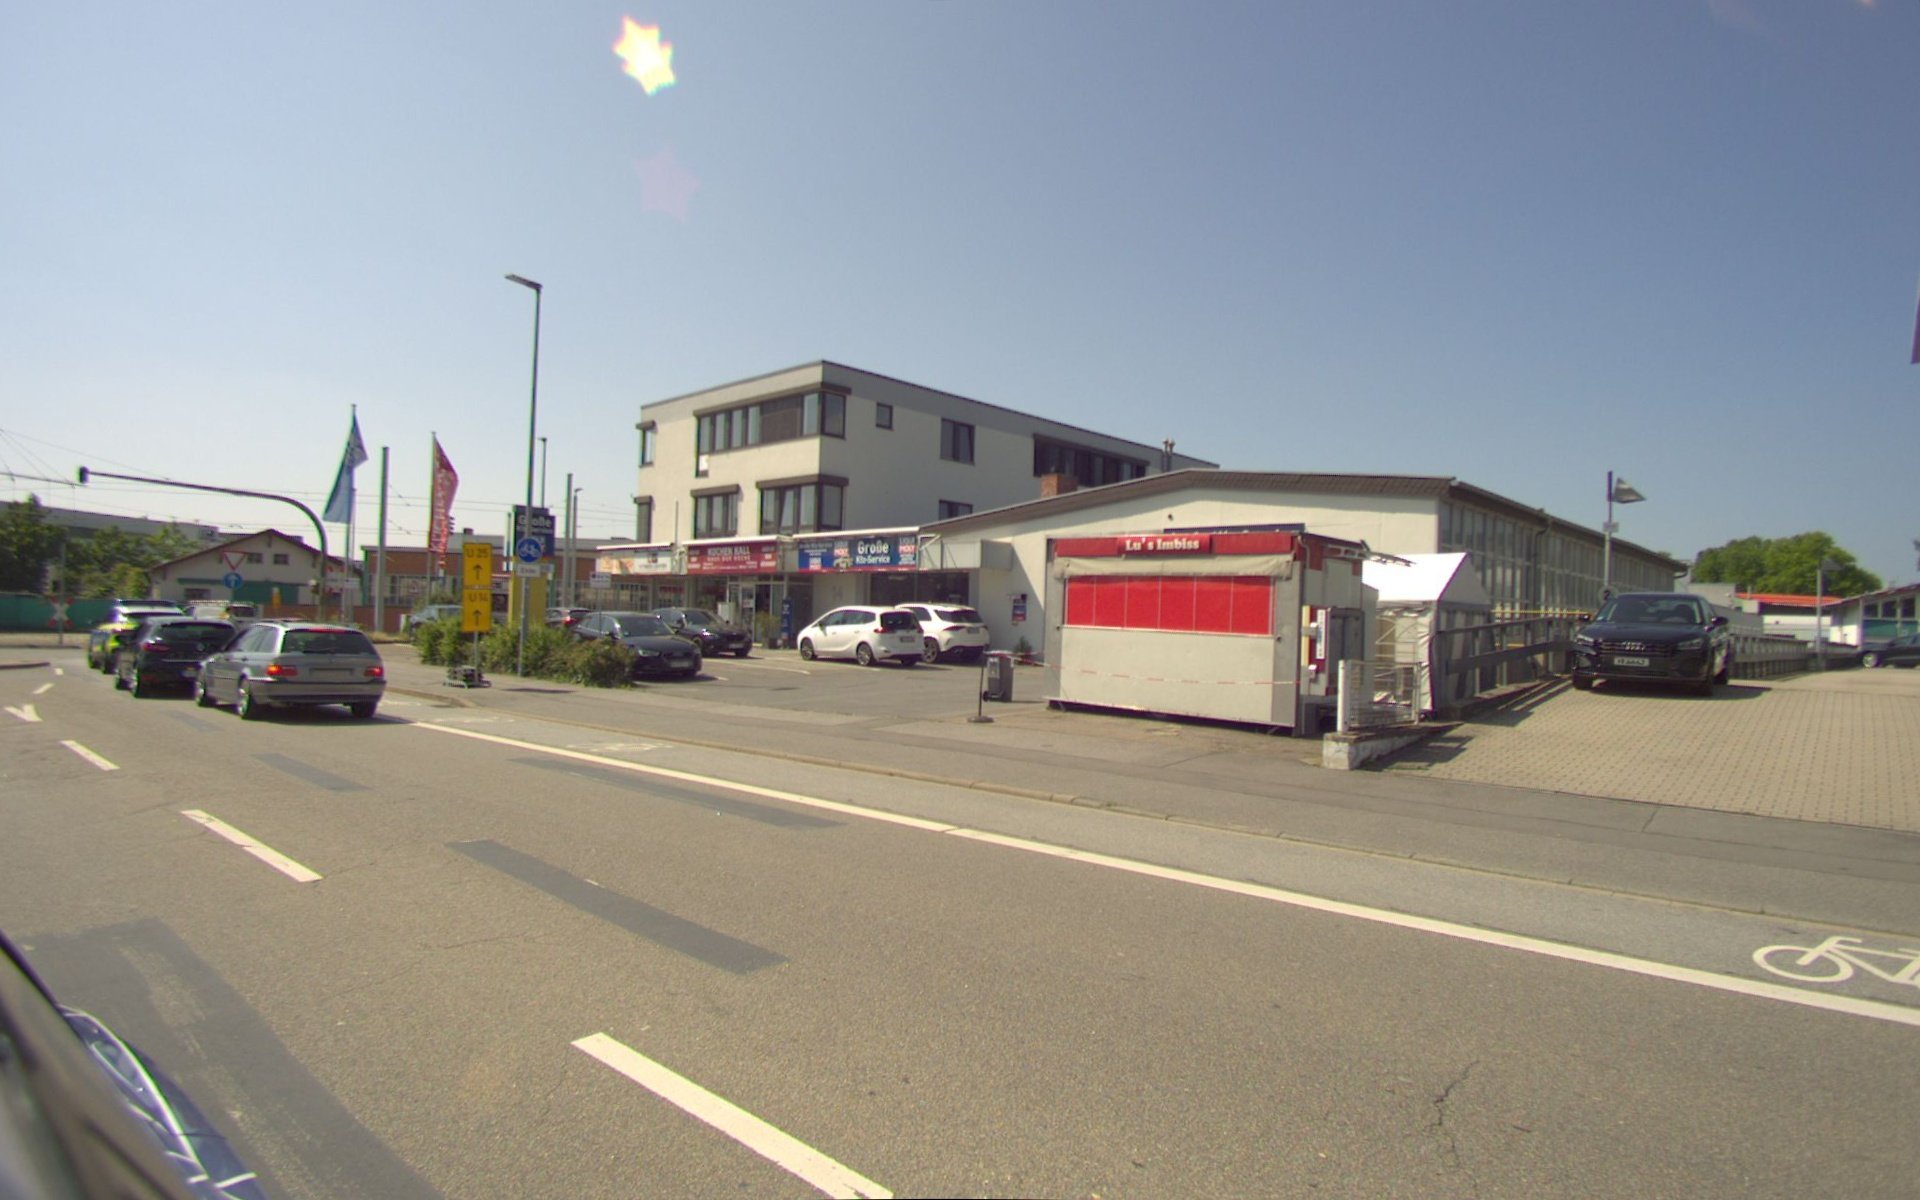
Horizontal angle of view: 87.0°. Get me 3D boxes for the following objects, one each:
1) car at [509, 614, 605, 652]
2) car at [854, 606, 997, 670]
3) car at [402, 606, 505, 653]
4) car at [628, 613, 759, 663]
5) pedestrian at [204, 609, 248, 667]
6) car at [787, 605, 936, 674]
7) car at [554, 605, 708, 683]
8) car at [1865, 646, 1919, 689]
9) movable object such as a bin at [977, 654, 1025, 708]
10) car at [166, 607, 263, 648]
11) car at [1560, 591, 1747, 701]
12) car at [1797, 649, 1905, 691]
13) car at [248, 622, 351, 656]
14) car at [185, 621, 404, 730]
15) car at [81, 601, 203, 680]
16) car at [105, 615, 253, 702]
[{"bbox_3d":[-16.091,1.297,40.300,4.487,1.399,1.885,-1,-3,45],"label":"car"},{"bbox_3d":[-1.130,1.151,31.190,4.421,1.830,1.885,-1,-3,45],"label":"car"},{"bbox_3d":[-18.477,1.069,36.785,1.885,1.585,4.820,3,-3,-45],"label":"car"},{"bbox_3d":[-8.185,1.133,30.878,4.421,1.432,1.885,-1,-3,45],"label":"car"},{"bbox_3d":[-21.924,1.126,30.228,0.981,1.698,0.801,3,-3,-37],"label":"pedestrian"},{"bbox_3d":[-2.936,1.097,29.423,1.885,1.721,4.482,3,-1,-44],"label":"car"},{"bbox_3d":[-8.053,1.039,24.606,4.001,1.728,1.883,-1,-3,44],"label":"car"},{"bbox_3d":[39.070,2.705,40.458,1.969,1.652,4.005,0,-1,-6],"label":"car"},{"bbox_3d":[0.746,1.463,18.446,0.564,0.930,0.691,0,-1,-35],"label":"movable object such as a bin"},{"bbox_3d":[-41.696,1.535,56.644,4.397,1.961,1.987,3,-2,16],"label":"car"},{"bbox_3d":[11.211,0.702,16.264,1.898,1.536,3.943,-1,-2,43],"label":"car"},{"bbox_3d":[47.268,3.671,53.811,1.969,2.029,4.005,0,-1,-6],"label":"car"},{"bbox_3d":[-30.762,1.794,47.288,1.748,1.465,4.098,0,-1,9],"label":"car"},{"bbox_3d":[-10.310,1.085,15.551,4.323,1.415,1.723,-1,-4,42],"label":"car"},{"bbox_3d":[-20.391,0.976,25.166,1.871,1.772,4.355,3,-3,-45],"label":"car"},{"bbox_3d":[-14.870,1.064,19.182,1.641,1.465,4.243,5,-4,-45],"label":"car"}]
